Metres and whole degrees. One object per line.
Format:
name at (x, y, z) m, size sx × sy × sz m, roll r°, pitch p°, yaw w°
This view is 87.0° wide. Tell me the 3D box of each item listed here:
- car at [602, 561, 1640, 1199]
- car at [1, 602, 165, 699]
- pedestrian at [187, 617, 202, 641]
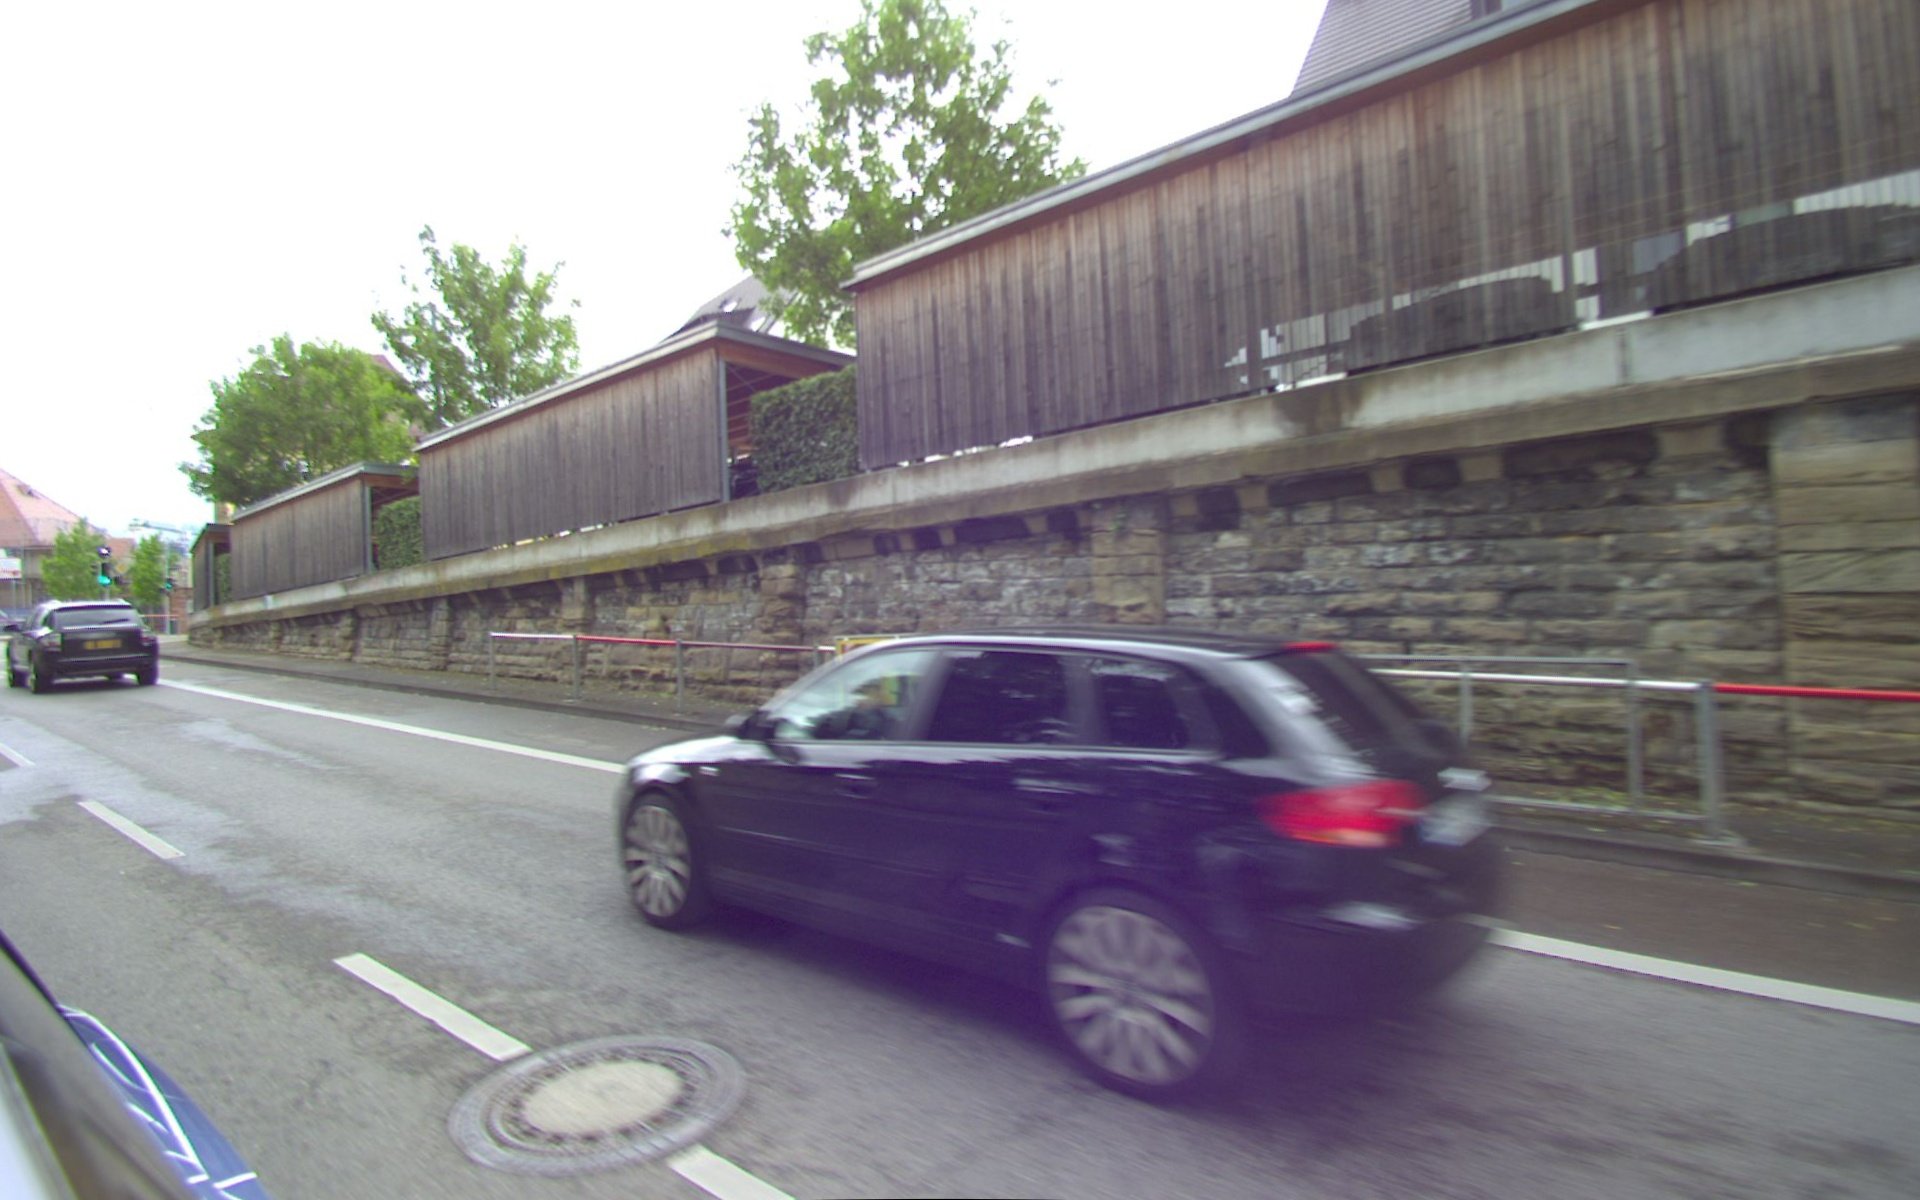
car at (0.324, 0.709, 4.231) m, size 3.998 × 1.544 × 1.717 m, roll -1°, pitch -1°, yaw 41°
car at (-17.859, 0.945, 20.541) m, size 4.434 × 1.770 × 1.875 m, roll -1°, pitch -1°, yaw 40°
pedestrian at (-51.960, 1.972, 68.700) m, size 0.644 × 1.589 × 0.539 m, roll -1°, pitch -1°, yaw 1°
